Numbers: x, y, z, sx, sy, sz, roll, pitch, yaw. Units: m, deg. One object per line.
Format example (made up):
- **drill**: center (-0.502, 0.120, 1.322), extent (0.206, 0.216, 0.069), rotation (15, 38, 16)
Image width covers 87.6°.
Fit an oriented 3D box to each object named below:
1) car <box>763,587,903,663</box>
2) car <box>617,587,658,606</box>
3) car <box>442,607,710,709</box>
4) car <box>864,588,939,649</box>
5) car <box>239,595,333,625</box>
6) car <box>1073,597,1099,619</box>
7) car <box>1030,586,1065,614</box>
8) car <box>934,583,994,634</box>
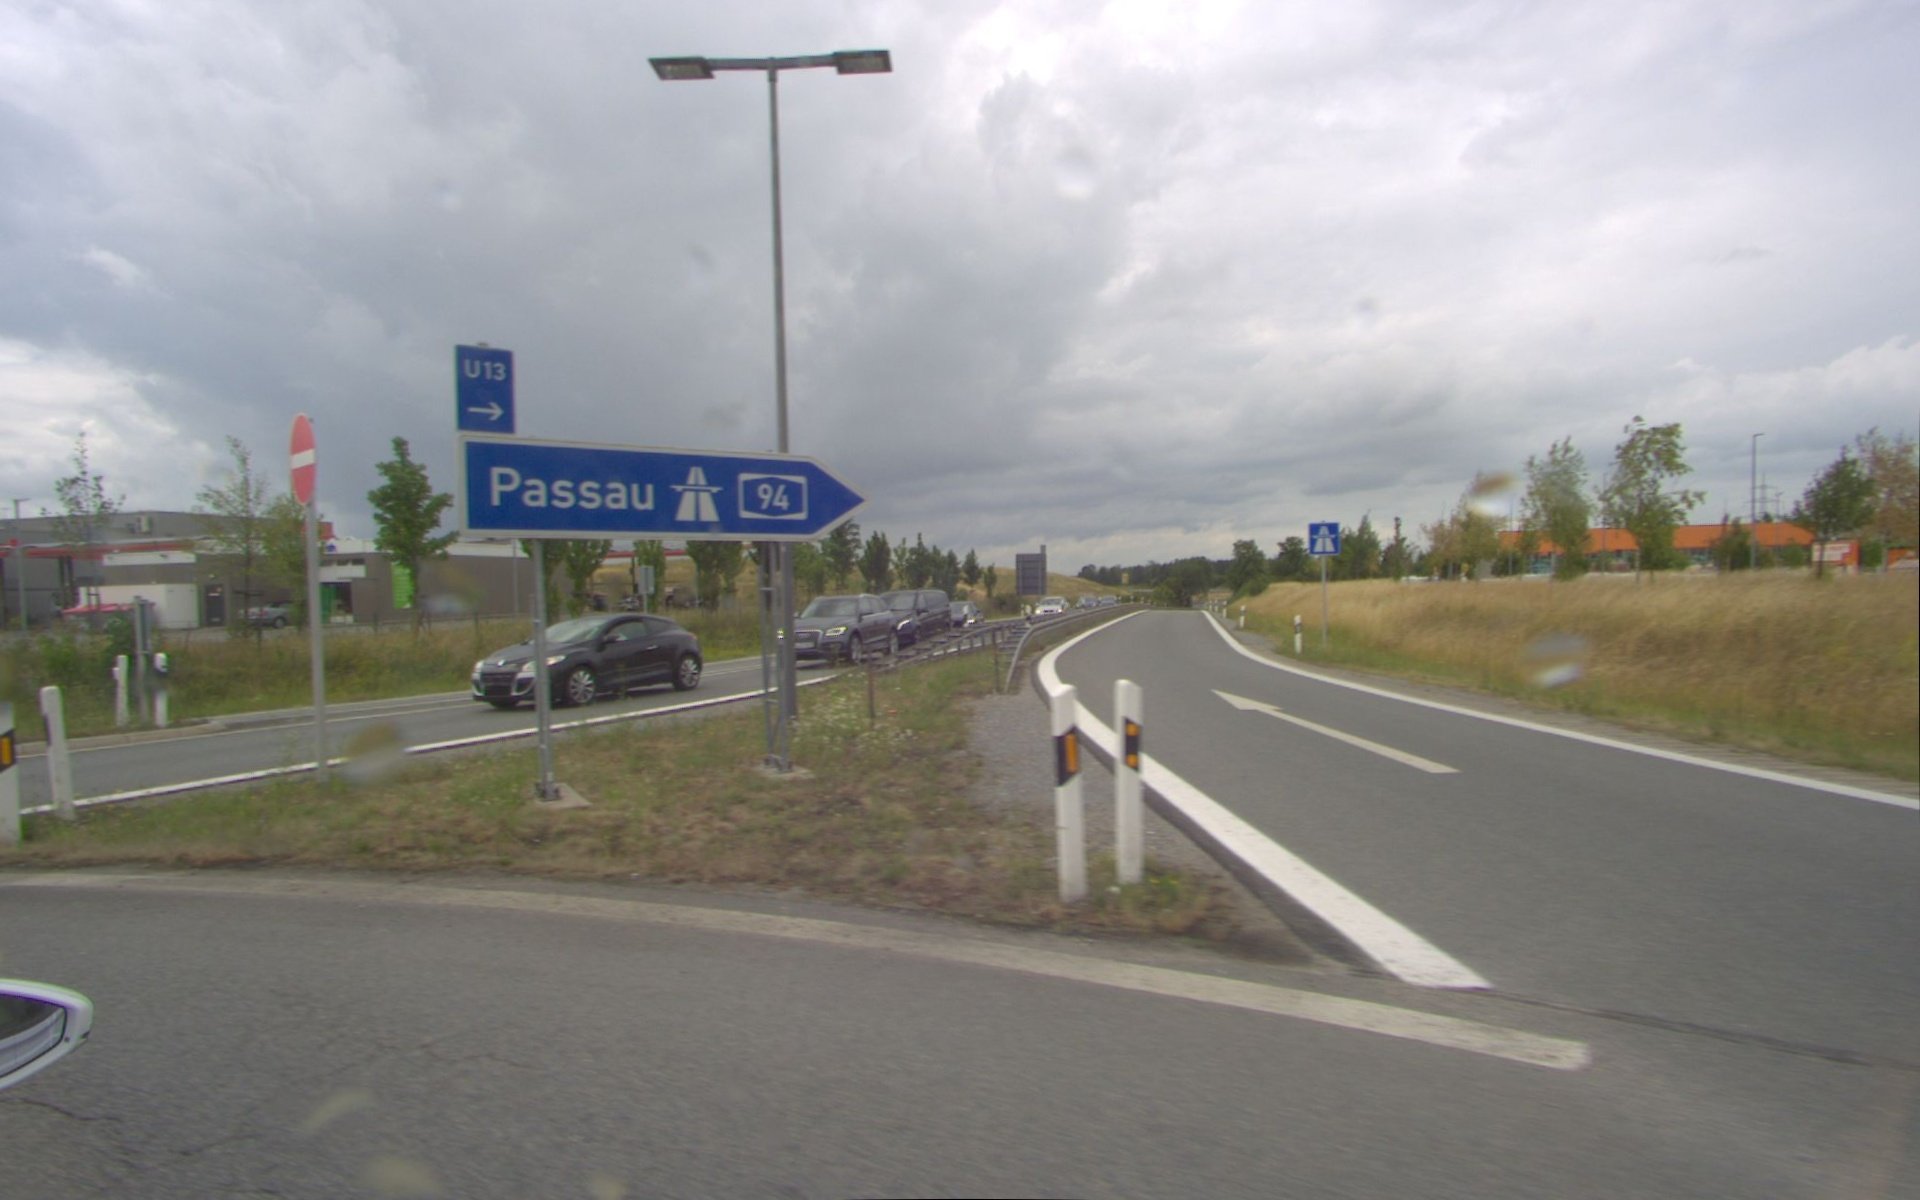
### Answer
- **car**: center (-2.923, 0.543, 24.056), extent (1.849, 1.604, 4.271), rotation (-2, 0, 14)
- **car**: center (-27.626, -0.326, 85.858), extent (1.765, 1.559, 3.660), rotation (-2, 0, 9)
- **car**: center (-6.184, 0.887, 16.675), extent (1.813, 1.388, 4.133), rotation (-2, 0, 22)
- **car**: center (-1.774, 0.540, 32.000), extent (1.689, 1.744, 4.744), rotation (-2, 0, 5)
- **car**: center (-34.562, 0.490, 51.467), extent (1.639, 1.450, 3.997), rotation (-2, 0, 11)
- **car**: center (10.366, 0.611, 82.435), extent (1.730, 1.686, 3.995), rotation (-1, 1, 12)
- **car**: center (5.226, -0.019, 59.598), extent (1.657, 1.518, 3.996), rotation (-1, 1, 11)
- **car**: center (0.215, 0.318, 40.572), extent (1.772, 1.908, 3.997), rotation (-2, 0, 10)
